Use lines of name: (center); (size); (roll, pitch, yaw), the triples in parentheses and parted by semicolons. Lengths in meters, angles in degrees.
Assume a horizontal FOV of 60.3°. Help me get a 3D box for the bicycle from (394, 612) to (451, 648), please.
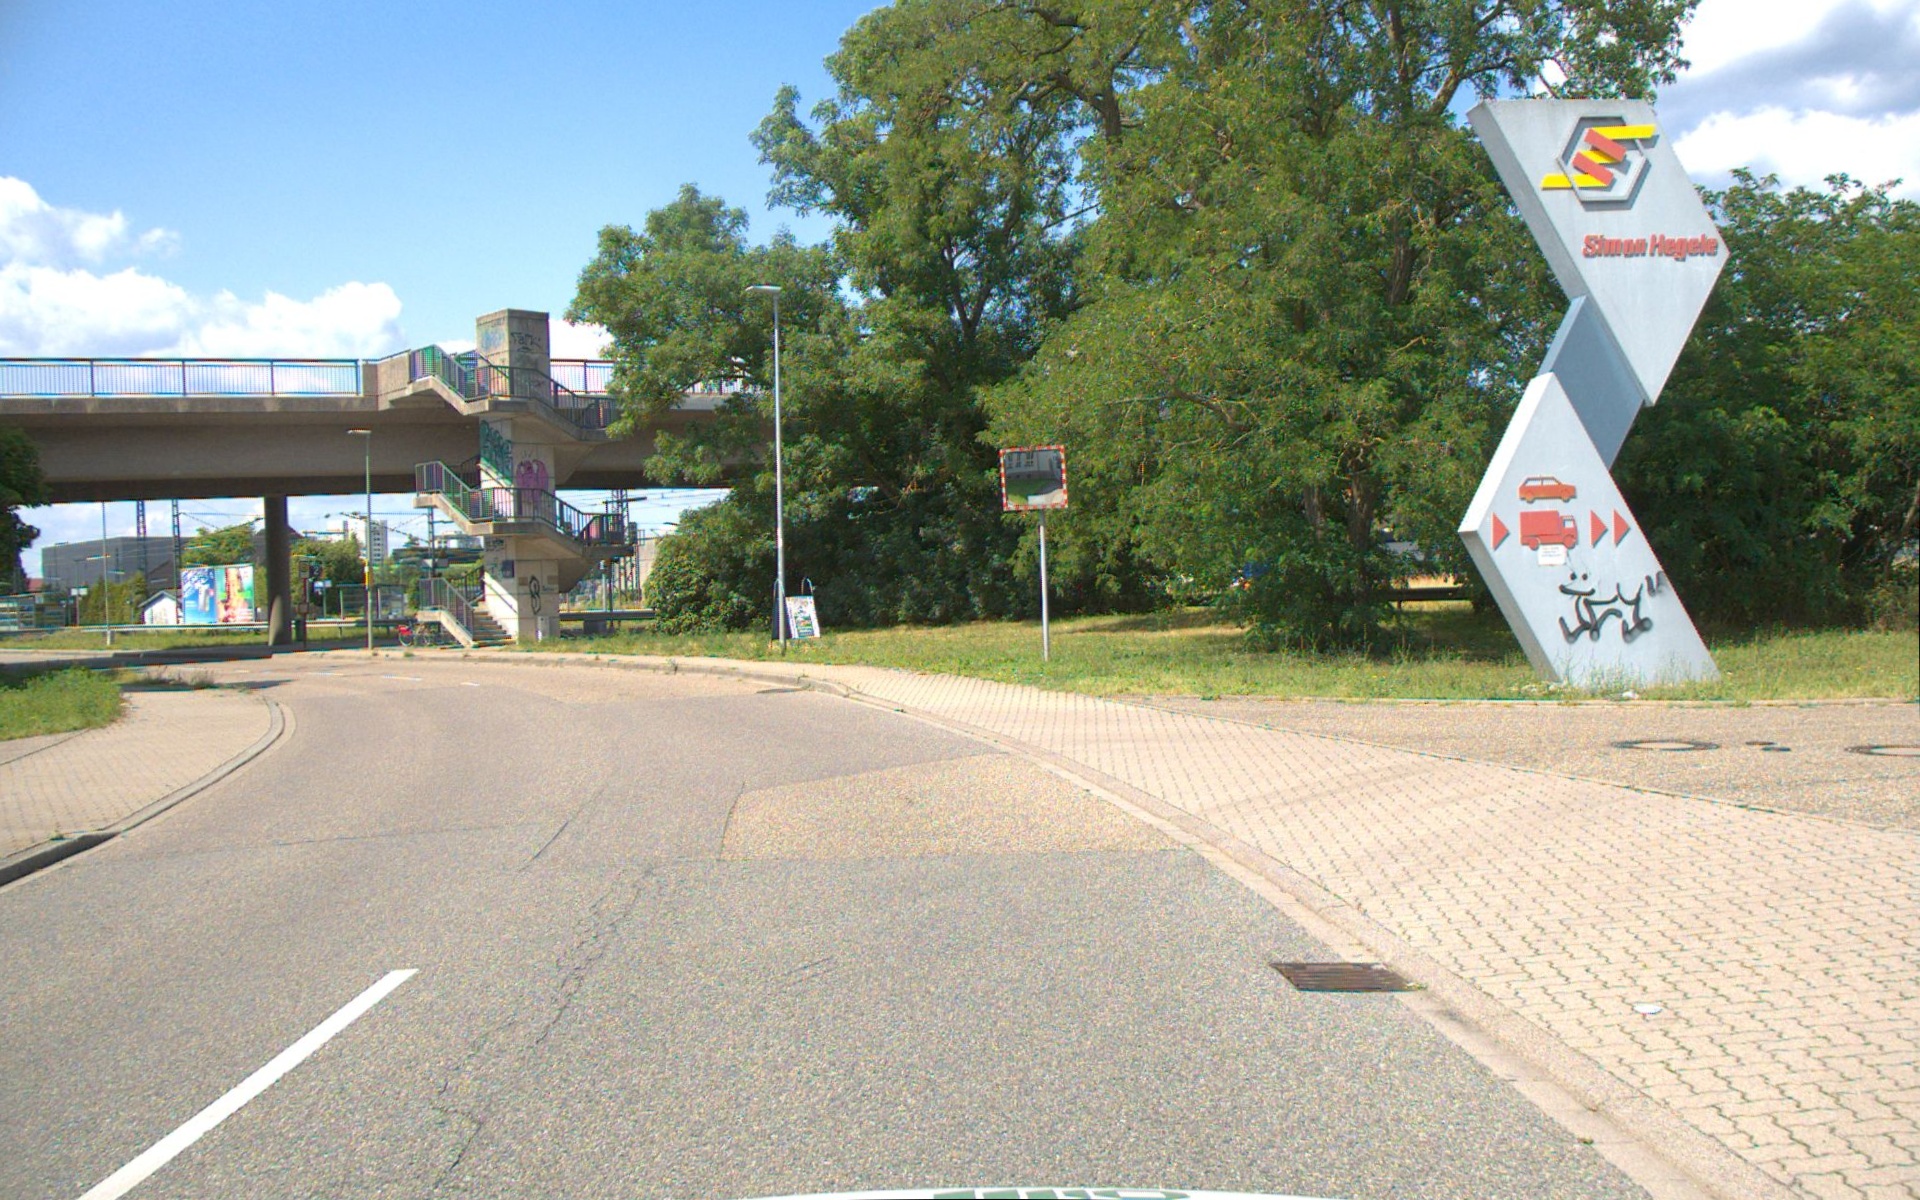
bicycle: (-18.022, 1.010, 55.431); (2.148, 1.127, 0.642); (-2, 1, 37)
